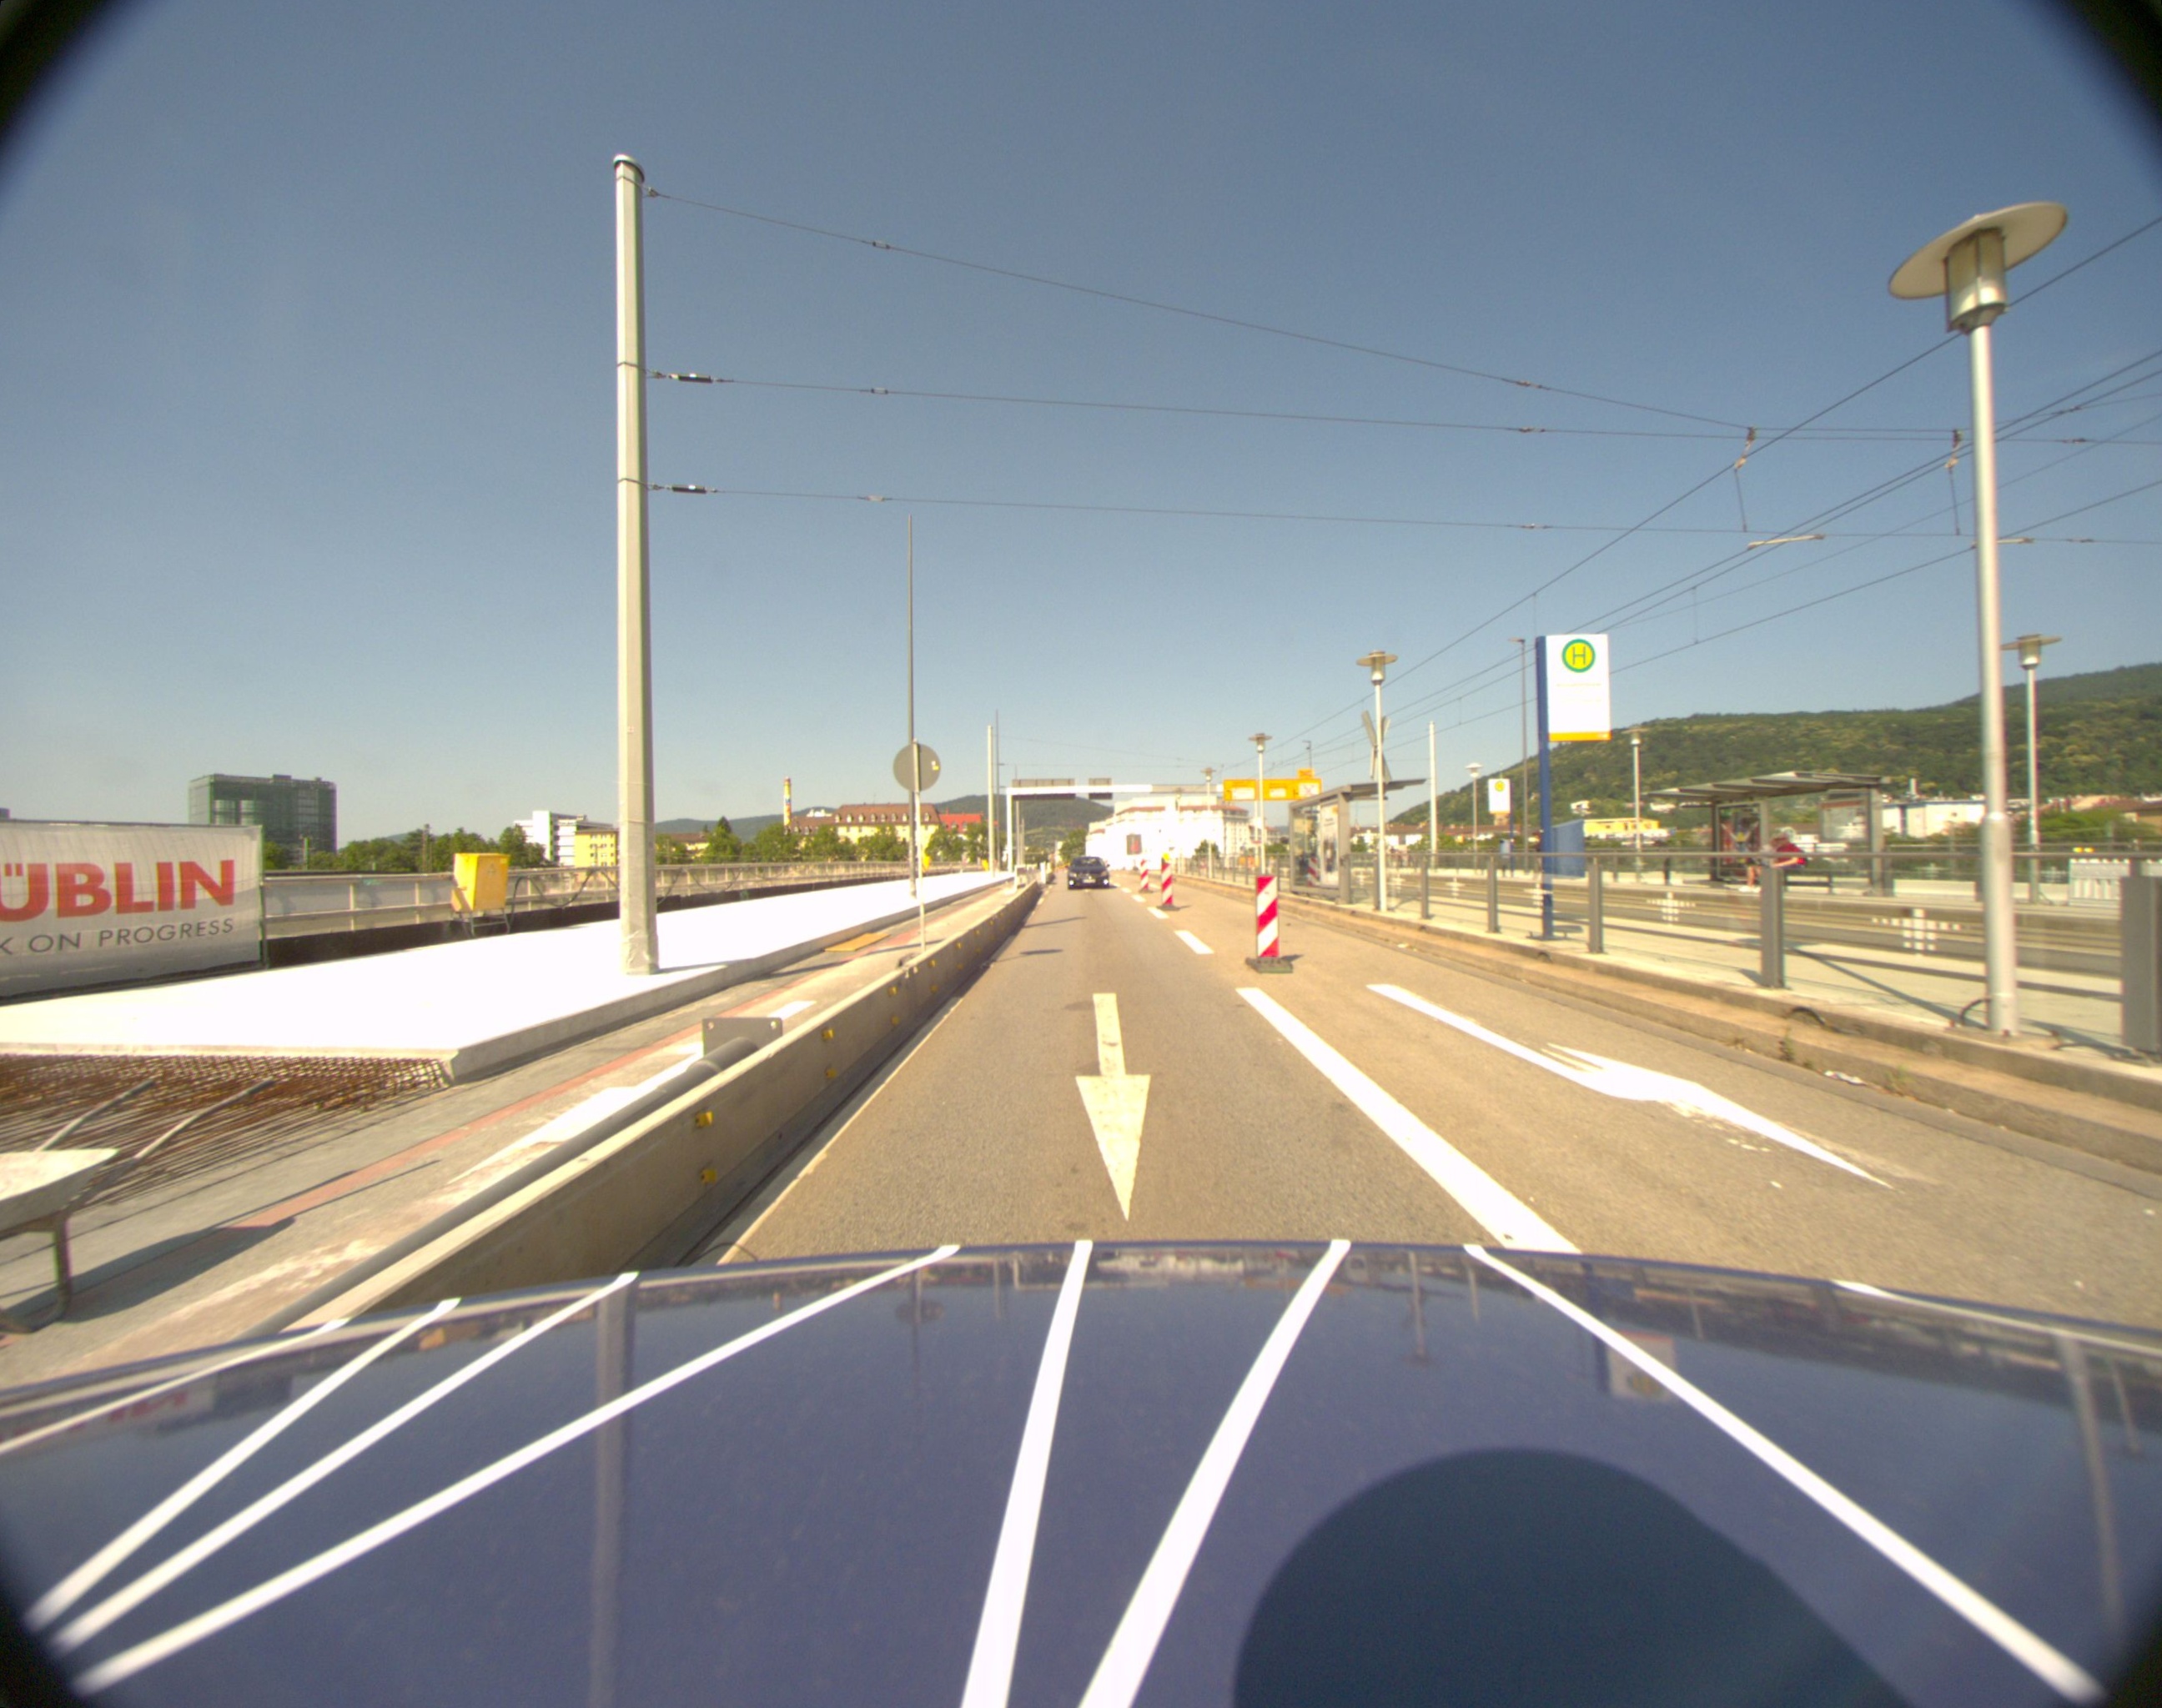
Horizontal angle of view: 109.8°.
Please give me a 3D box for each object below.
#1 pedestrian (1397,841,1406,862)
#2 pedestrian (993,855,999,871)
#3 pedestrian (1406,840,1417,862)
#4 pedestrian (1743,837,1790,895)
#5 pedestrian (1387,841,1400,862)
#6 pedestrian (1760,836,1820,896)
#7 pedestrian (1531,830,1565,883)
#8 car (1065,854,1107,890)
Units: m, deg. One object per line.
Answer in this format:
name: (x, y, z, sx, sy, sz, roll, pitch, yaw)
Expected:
pedestrian: (25.997, -0.213, 61.586, 0.384, 1.677, 0.770, -1, 0, 0)
pedestrian: (-10.890, 1.175, 97.334, 0.733, 1.953, 1.016, 0, -1, -3)
pedestrian: (26.247, -0.220, 60.338, 0.505, 1.677, 0.773, -1, 0, 0)
pedestrian: (15.389, 0.261, 17.064, 0.649, 1.266, 0.453, -1, 1, 3)
pedestrian: (25.256, -0.222, 61.374, 0.754, 1.677, 0.732, -1, 0, 0)
pedestrian: (15.366, 0.255, 16.481, 0.649, 1.266, 0.697, -1, 0, 3)
pedestrian: (14.733, 0.081, 23.982, 0.661, 1.645, 0.740, -1, 0, 11)
car: (0.171, 0.776, 33.563, 1.698, 1.388, 4.363, -3, -1, -1)
